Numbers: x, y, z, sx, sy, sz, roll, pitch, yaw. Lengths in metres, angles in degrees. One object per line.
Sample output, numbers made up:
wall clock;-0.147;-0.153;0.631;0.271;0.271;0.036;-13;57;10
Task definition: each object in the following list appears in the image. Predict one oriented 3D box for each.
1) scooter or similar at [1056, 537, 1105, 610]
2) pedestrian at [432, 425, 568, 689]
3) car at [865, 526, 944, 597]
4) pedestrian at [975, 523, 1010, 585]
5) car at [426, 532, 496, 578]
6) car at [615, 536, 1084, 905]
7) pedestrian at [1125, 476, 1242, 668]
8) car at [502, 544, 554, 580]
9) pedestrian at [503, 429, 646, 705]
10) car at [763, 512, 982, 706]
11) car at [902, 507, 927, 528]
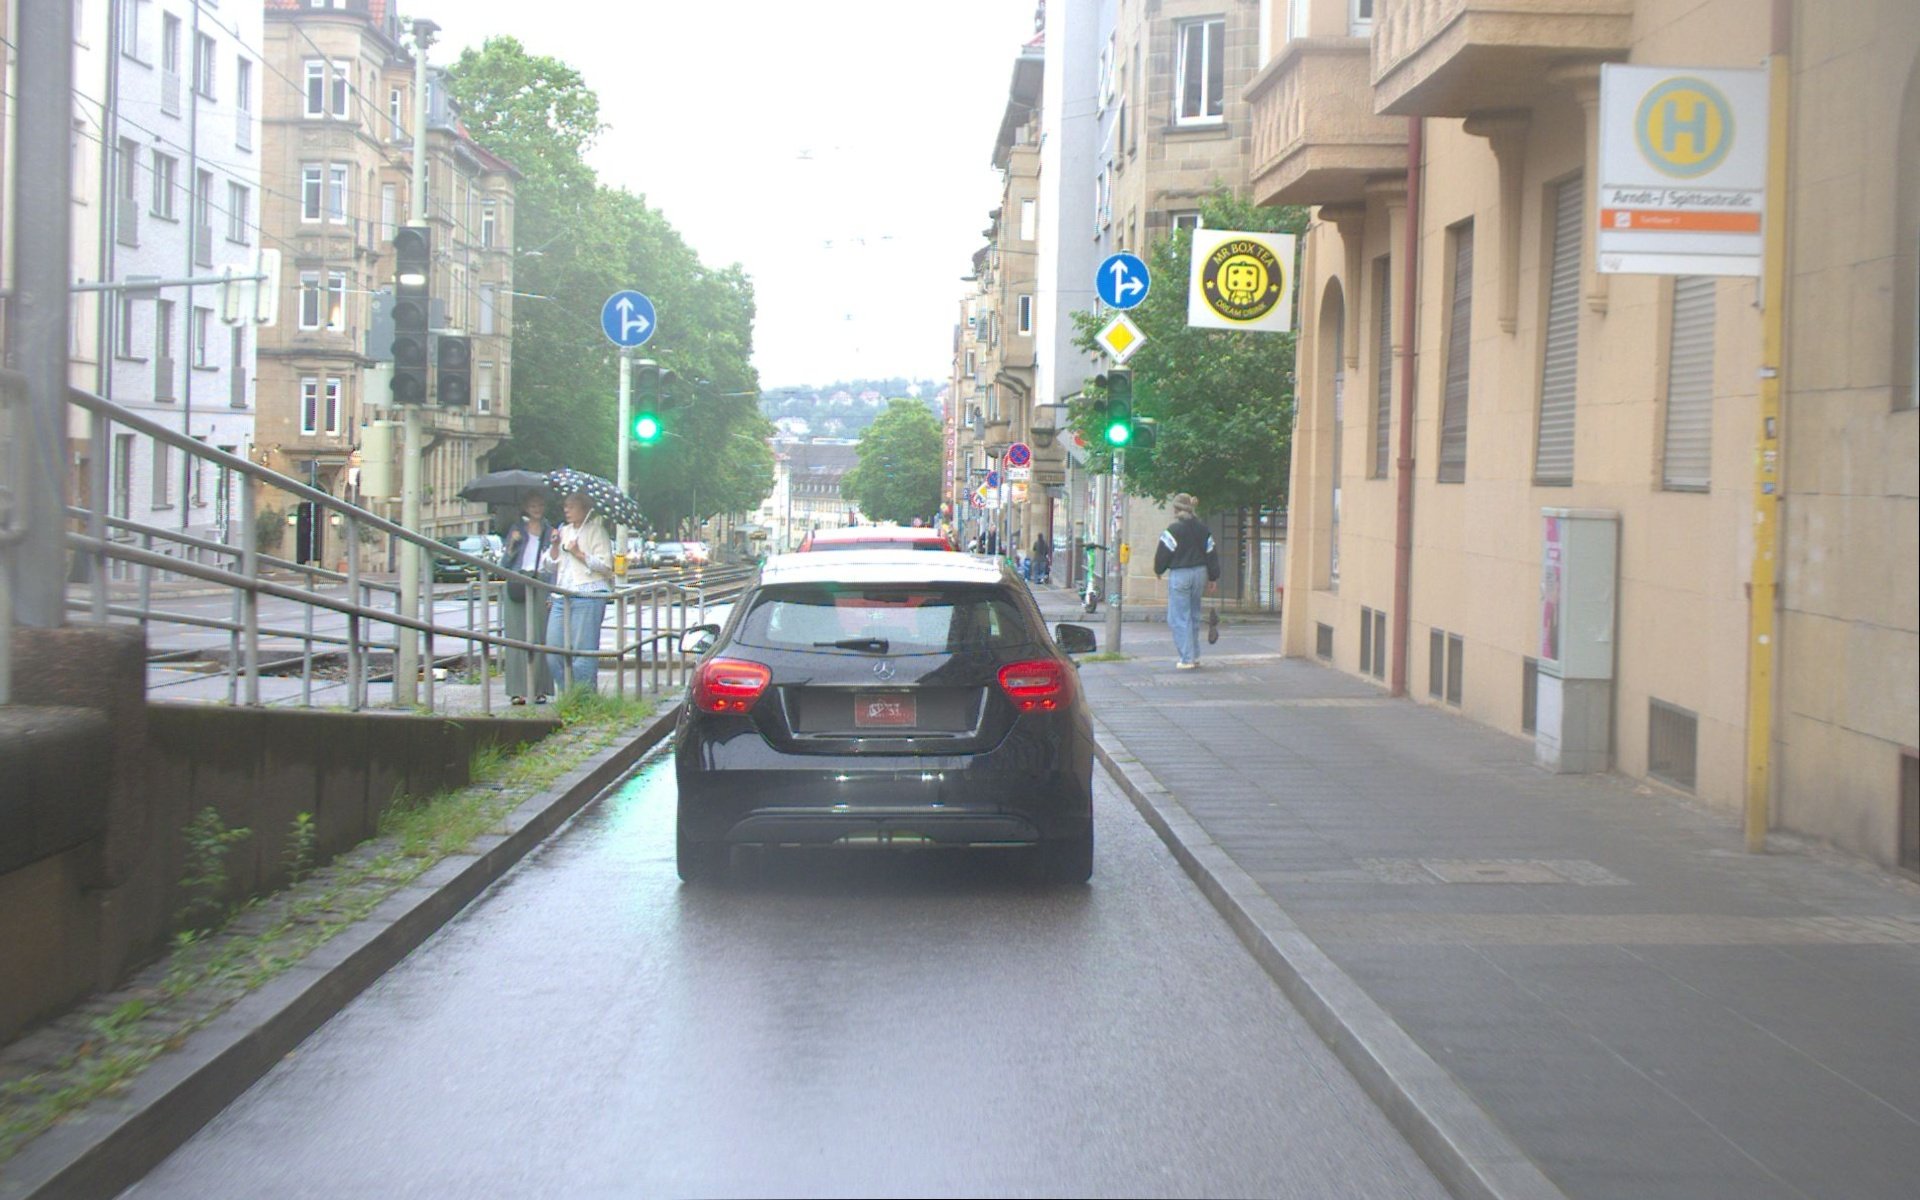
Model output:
scooter or similar;2.020;-0.457;57.886;0.638;1.206;1.553;0;1;-5
pedestrian;-3.583;-0.337;26.858;0.897;2.007;0.947;1;1;-1
car;-1.260;-0.888;78.418;1.765;1.553;4.746;0;1;-1
pedestrian;0.924;-1.322;98.015;0.945;1.763;1.015;0;1;-3
car;-16.854;-1.534;116.233;1.722;1.536;3.934;0;1;1
car;-0.416;0.450;15.865;1.866;1.447;4.000;1;1;1
pedestrian;2.214;-0.283;33.948;0.966;1.834;0.902;-3;1;11
car;-17.156;-1.523;136.702;1.569;1.408;3.481;0;1;1
pedestrian;-2.880;-0.251;25.783;0.926;2.007;0.947;1;1;-1
car;-0.675;0.031;28.244;1.649;1.447;4.000;1;1;0
car;-3.028;-5.510;230.092;1.613;1.313;4.000;2;1;-1
